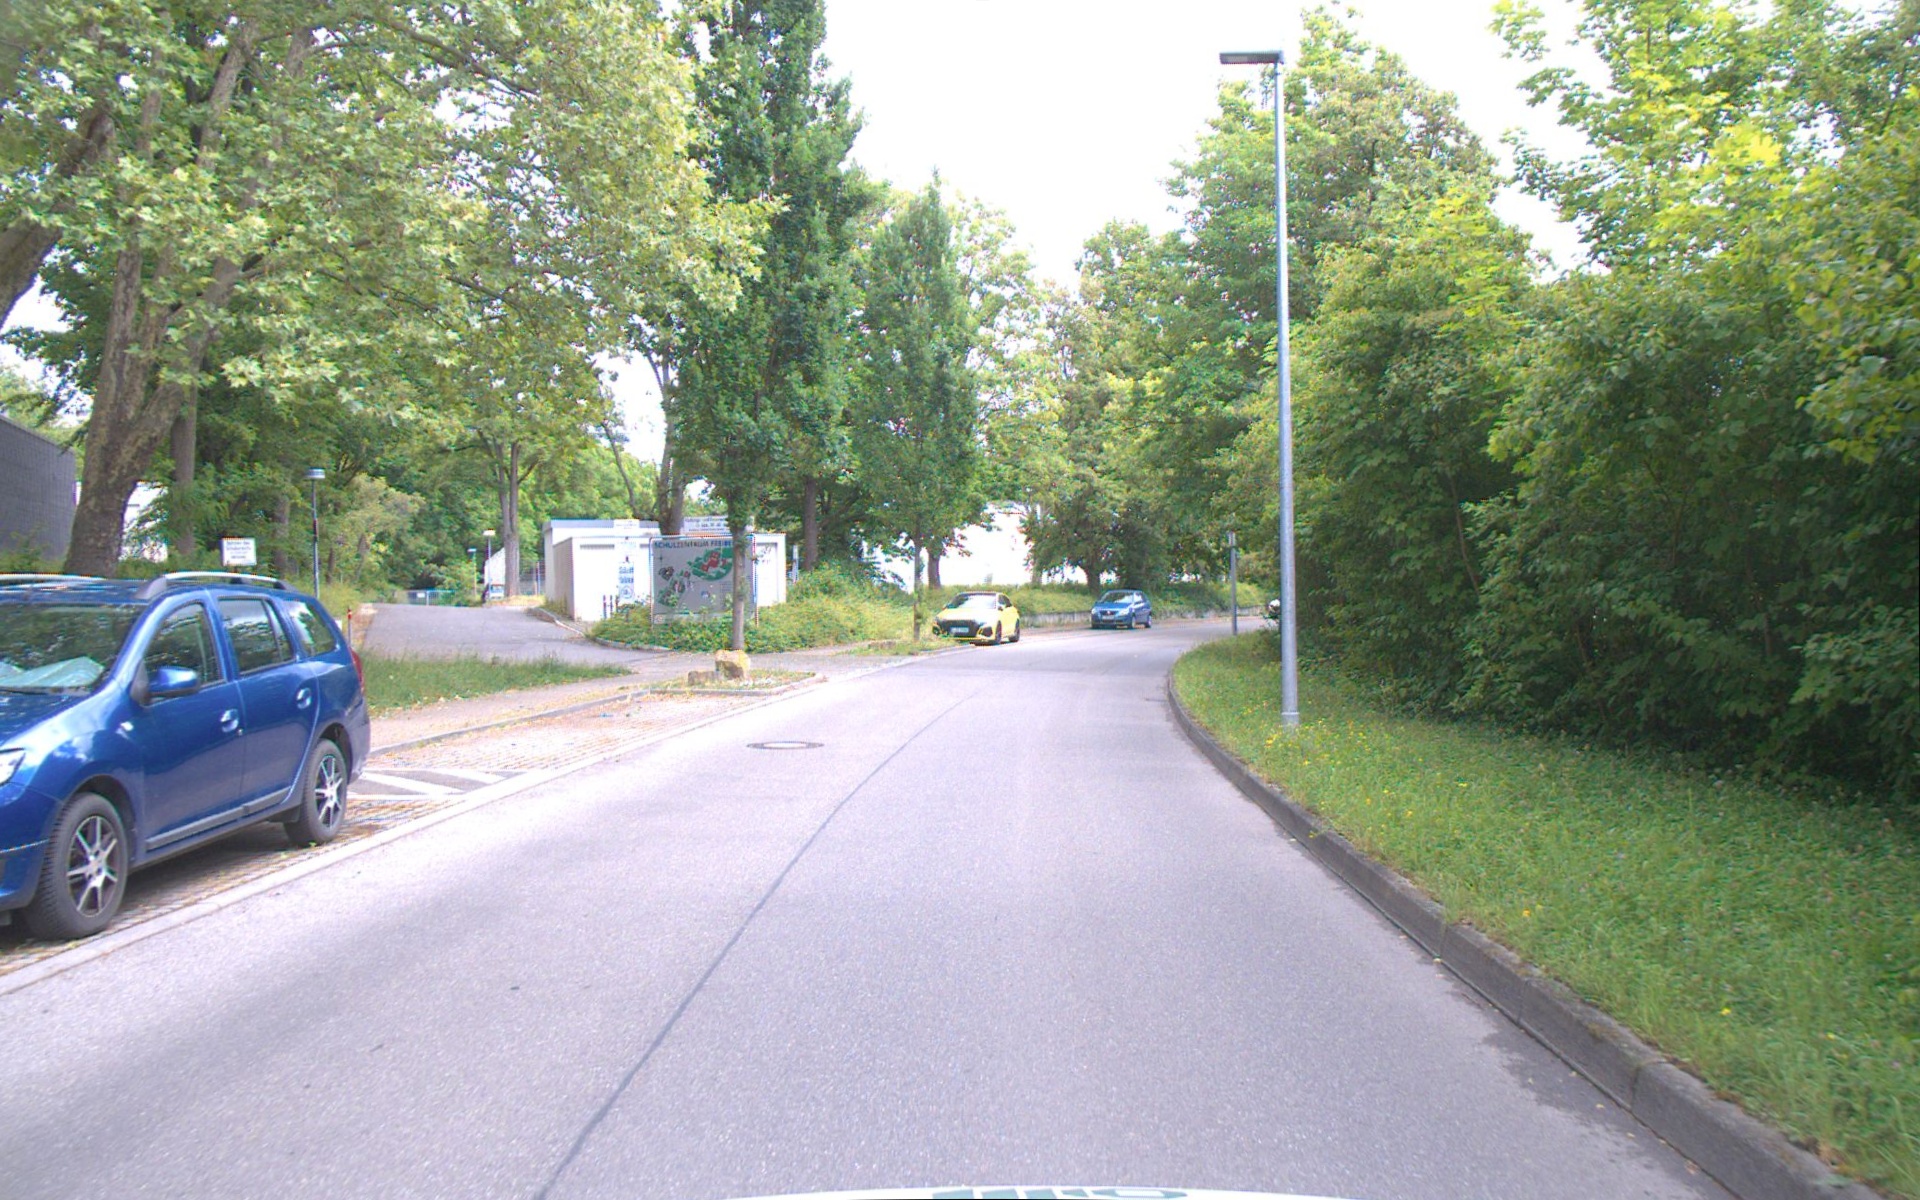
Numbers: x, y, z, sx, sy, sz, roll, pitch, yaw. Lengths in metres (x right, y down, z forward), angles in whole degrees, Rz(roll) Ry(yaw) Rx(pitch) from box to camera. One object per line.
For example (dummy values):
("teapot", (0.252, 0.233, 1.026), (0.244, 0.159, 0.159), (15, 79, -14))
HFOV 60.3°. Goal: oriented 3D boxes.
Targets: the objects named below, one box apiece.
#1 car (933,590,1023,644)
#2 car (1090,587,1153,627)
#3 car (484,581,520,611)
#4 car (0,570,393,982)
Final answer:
("car", (0.550, 0.458, 46.194), (1.664, 1.427, 4.277), (0, 0, 13))
("car", (6.198, 0.246, 63.200), (1.502, 1.484, 3.720), (-1, 0, 21))
("car", (-28.494, -0.253, 103.014), (1.839, 1.776, 3.989), (-2, 1, -12))
("car", (-4.419, 0.656, 8.234), (1.645, 1.538, 4.431), (-1, 0, 0))
